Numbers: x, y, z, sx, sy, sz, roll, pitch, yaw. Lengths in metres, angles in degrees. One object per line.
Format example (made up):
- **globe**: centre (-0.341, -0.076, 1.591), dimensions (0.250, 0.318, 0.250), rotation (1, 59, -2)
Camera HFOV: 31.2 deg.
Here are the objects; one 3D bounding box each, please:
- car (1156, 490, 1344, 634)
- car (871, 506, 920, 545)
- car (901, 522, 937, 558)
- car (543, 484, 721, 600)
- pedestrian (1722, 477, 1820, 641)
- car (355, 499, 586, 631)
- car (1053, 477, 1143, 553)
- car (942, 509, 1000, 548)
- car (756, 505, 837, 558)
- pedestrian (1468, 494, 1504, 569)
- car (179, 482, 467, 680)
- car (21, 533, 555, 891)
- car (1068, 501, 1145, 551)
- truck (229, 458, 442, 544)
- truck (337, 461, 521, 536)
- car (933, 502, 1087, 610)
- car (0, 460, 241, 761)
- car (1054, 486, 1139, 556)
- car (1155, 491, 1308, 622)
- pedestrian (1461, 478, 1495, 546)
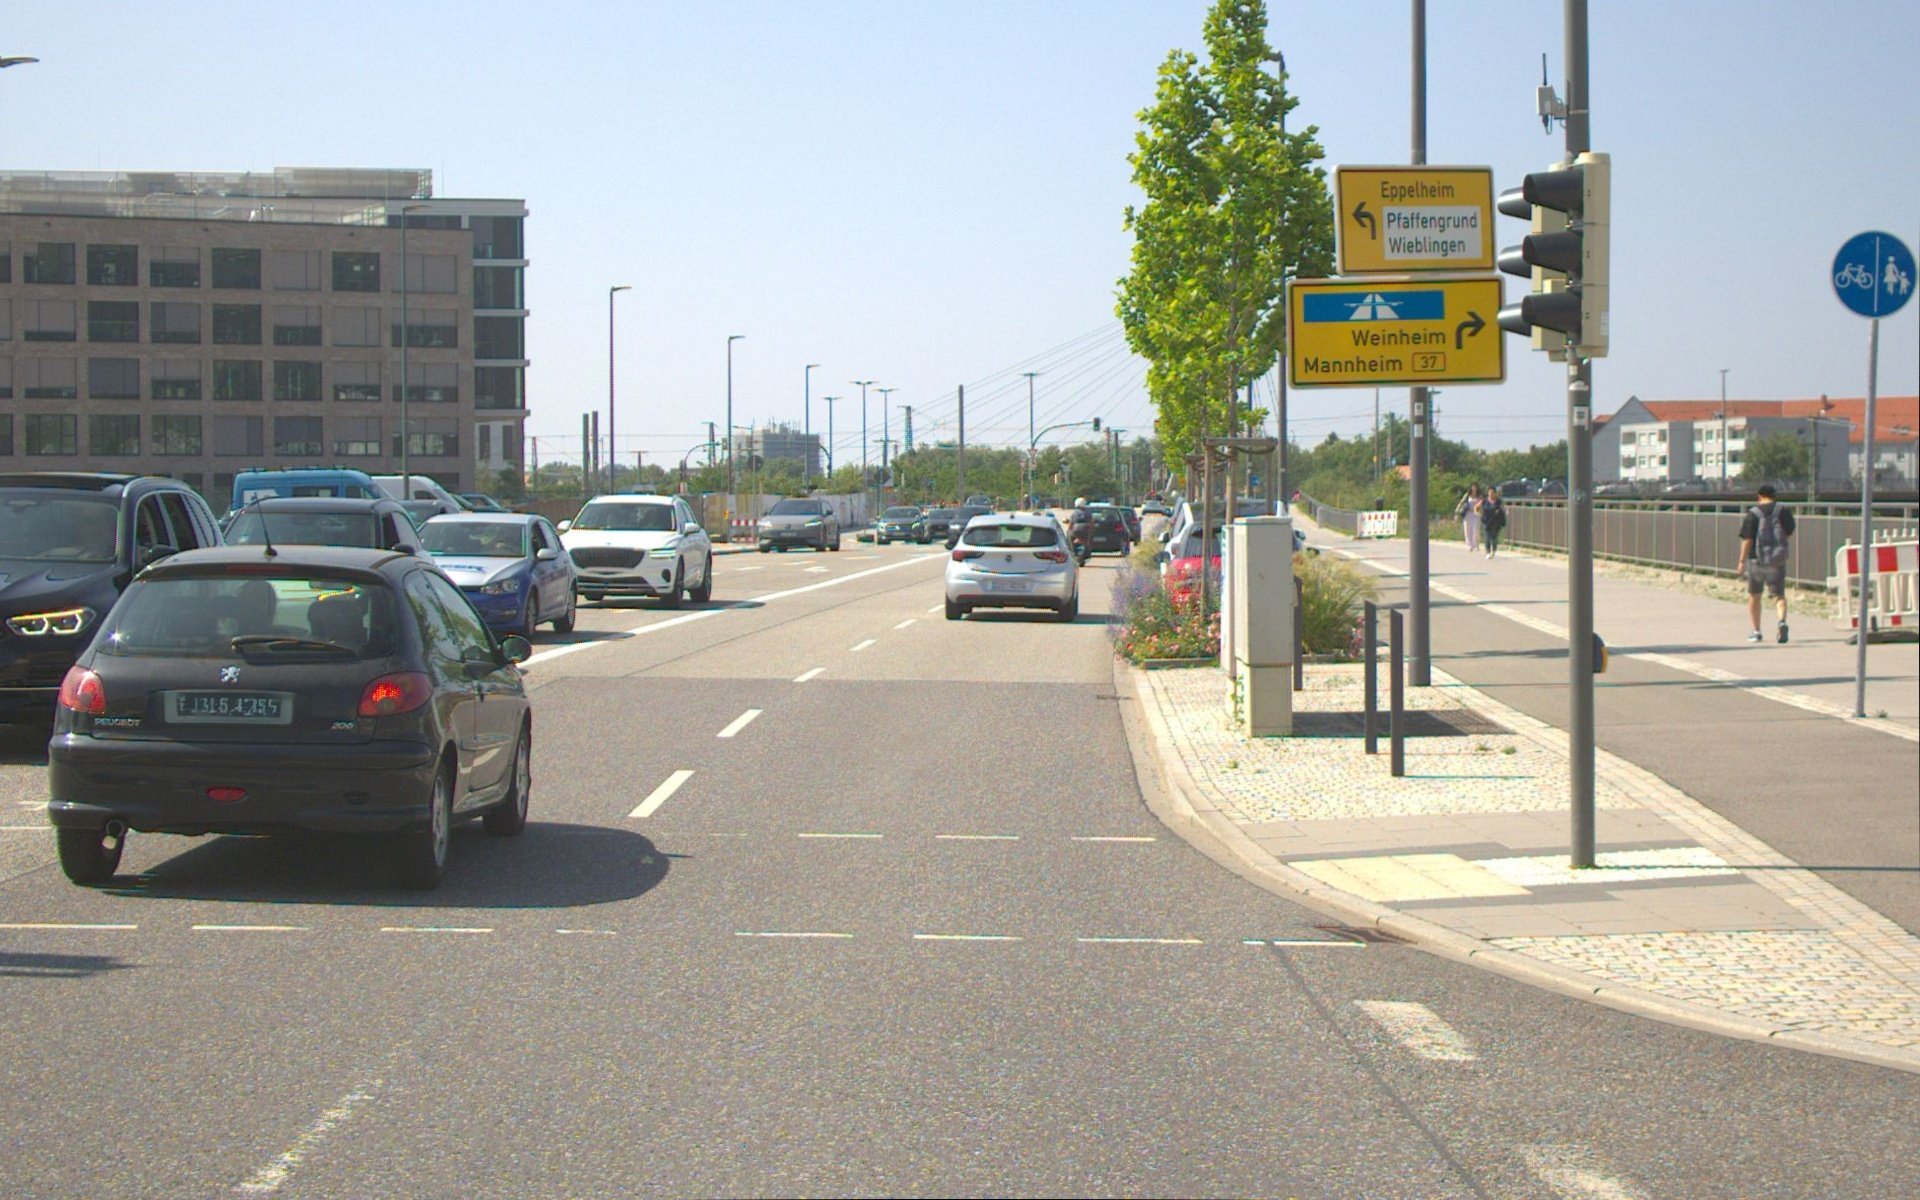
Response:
- **car**: centre (3.232, -0.452, 38.864), dimensions (1.994, 1.514, 4.000), rotation (1, 1, 4)
- **car**: centre (-2.496, -2.894, 133.647), dimensions (1.794, 1.411, 4.000), rotation (1, 0, 0)
- **car**: centre (-1.850, -2.727, 157.323), dimensions (1.579, 1.557, 3.673), rotation (1, 0, 0)
- **car**: centre (-4.857, -0.881, 51.513), dimensions (1.913, 1.644, 4.730), rotation (1, 1, 4)
- **pedestrian**: centre (8.198, -0.419, 34.789), dimensions (0.750, 1.603, 0.949), rotation (-3, 1, 4)
- **car**: centre (-5.555, -0.425, 39.505), dimensions (1.786, 1.416, 4.282), rotation (1, 1, 4)
- **car**: centre (3.289, -2.032, 82.486), dimensions (1.793, 1.744, 4.001), rotation (1, 1, -3)
- **car**: centre (0.424, -2.687, 128.170), dimensions (1.787, 1.393, 4.571), rotation (1, 2, 5)
- **car**: centre (-4.661, -1.945, 98.451), dimensions (1.894, 1.410, 3.598), rotation (1, 0, 4)
- **pedestrian**: centre (12.100, -1.578, 79.150), dimensions (0.732, 1.699, 0.651), rotation (1, 0, 4)
- **car**: centre (-5.720, -0.231, 31.341), dimensions (1.778, 1.676, 4.099), rotation (0, 2, 1)
- **car**: centre (-2.934, 0.416, 15.741), dimensions (1.619, 1.411, 3.727), rotation (1, 1, 2)
- **car**: centre (4.064, -2.056, 95.820), dimensions (1.632, 1.306, 4.001), rotation (1, 0, -5)
- **truck**: centre (-19.053, -3.011, 105.074), dimensions (6.004, 2.534, 2.275), rotation (-1, 1, 2)
- **truck**: centre (-17.337, -3.313, 112.381), dimensions (5.567, 2.354, 2.275), rotation (-1, 1, 2)
- **car**: centre (0.742, -0.637, 48.365), dimensions (1.778, 1.437, 3.999), rotation (1, 1, 6)
- **car**: centre (-6.320, -0.033, 22.977), dimensions (1.939, 1.782, 4.656), rotation (1, 2, 1)
- **car**: centre (3.295, -1.873, 82.275), dimensions (1.778, 1.563, 3.999), rotation (2, 0, 5)
- **car**: centre (3.549, -0.603, 45.656), dimensions (1.872, 1.621, 4.876), rotation (1, 1, 3)
- **pedestrian**: centre (13.233, -2.248, 87.862), dimensions (0.781, 1.699, 0.742), rotation (1, 1, 4)
